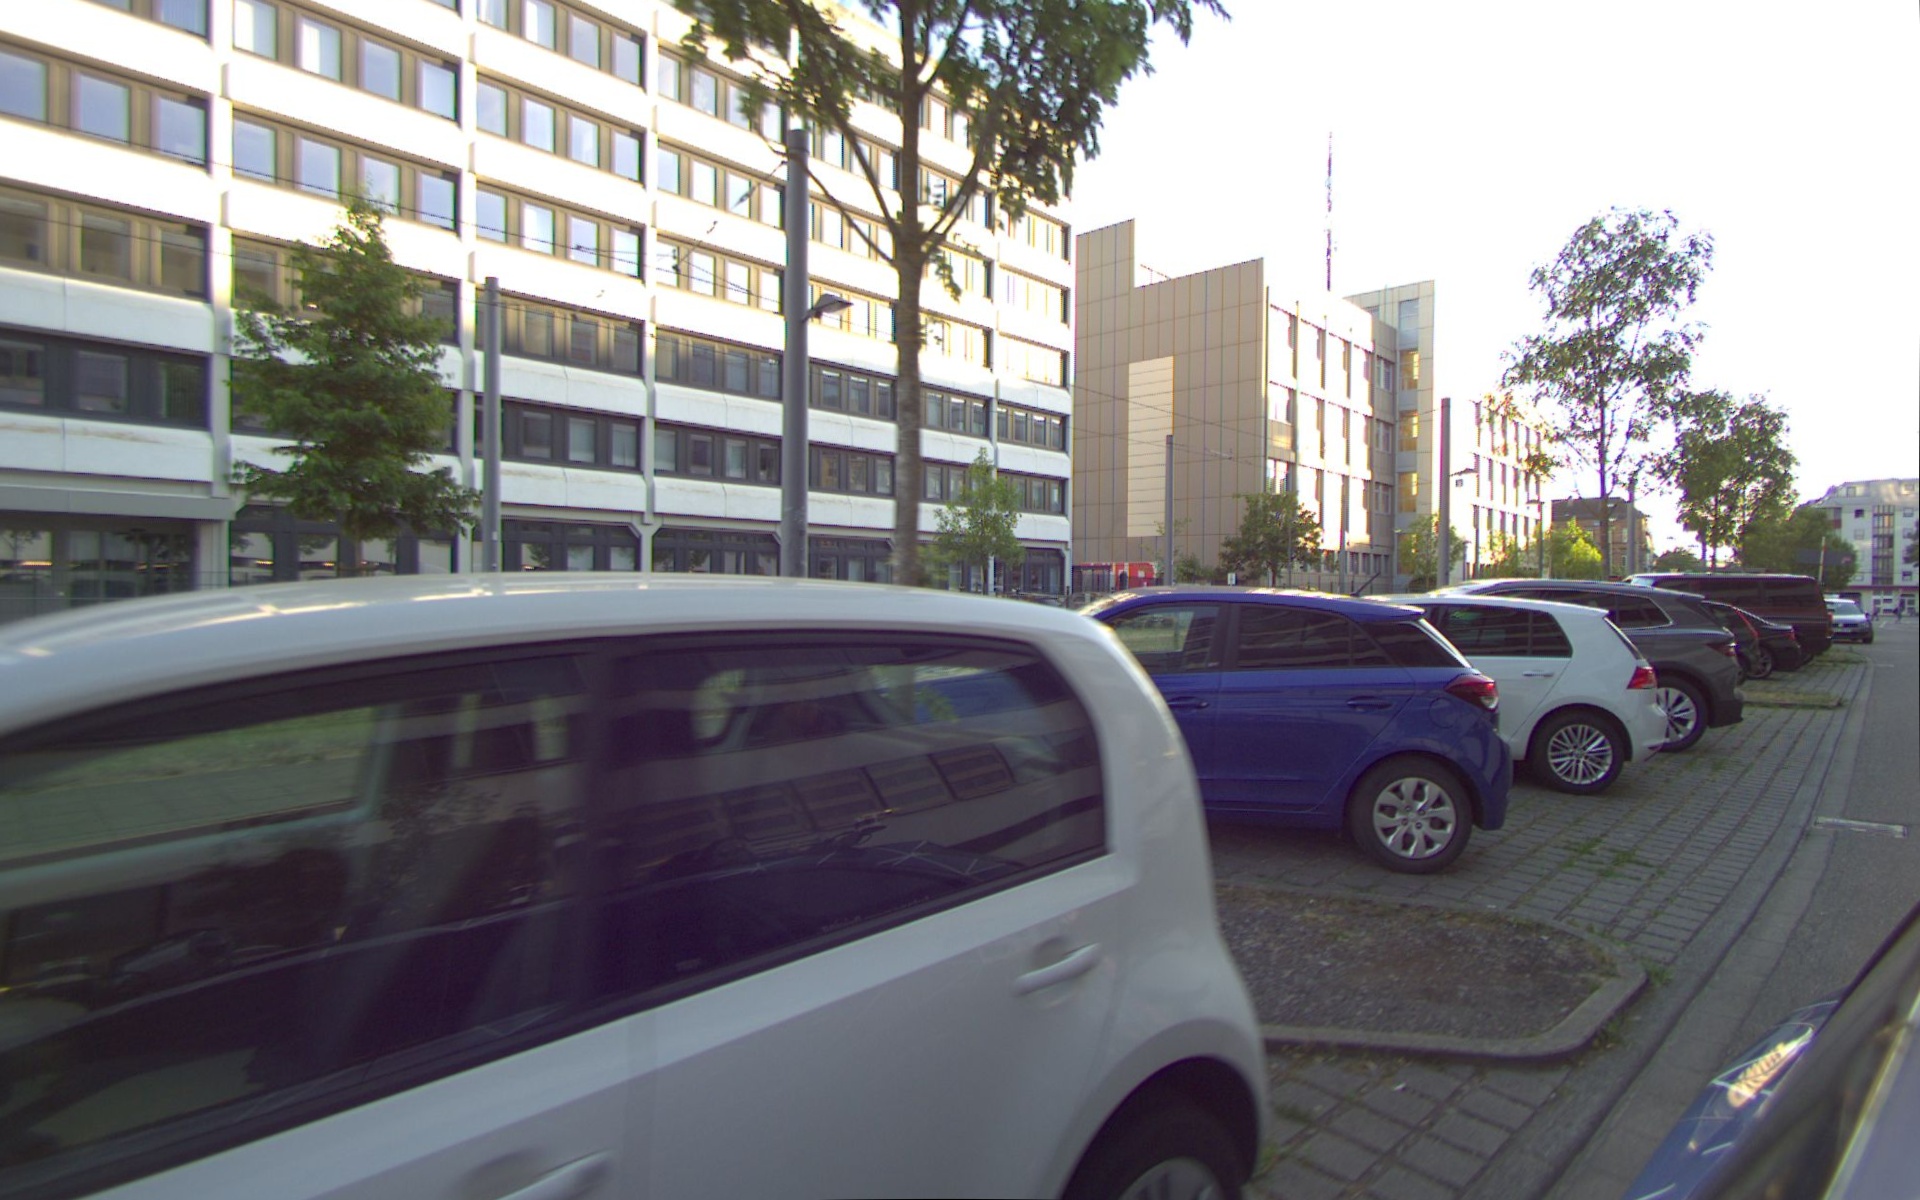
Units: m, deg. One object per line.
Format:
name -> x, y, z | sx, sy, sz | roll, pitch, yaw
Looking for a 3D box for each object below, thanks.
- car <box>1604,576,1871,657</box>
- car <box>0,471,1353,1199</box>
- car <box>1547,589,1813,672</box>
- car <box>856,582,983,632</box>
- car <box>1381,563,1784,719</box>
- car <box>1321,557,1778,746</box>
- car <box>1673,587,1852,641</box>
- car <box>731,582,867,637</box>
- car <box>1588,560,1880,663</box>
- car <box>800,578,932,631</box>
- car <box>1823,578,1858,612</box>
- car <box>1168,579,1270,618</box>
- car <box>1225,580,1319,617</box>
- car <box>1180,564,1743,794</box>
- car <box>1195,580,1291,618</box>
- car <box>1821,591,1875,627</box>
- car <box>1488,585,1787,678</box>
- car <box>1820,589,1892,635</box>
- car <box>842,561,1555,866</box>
car -> 17.975, 0.394, 23.623 | 4.529, 1.771, 1.865 | -1, -1, 11
car -> -1.142, 0.624, 1.545 | 3.488, 1.486, 1.727 | 0, 1, -39
car -> 13.476, 0.572, 19.152 | 3.716, 1.484, 1.635 | -1, -1, 9
car -> -1.303, 0.251, 31.260 | 3.984, 1.416, 1.567 | -2, -2, 43
car -> 7.679, 0.413, 12.977 | 3.932, 1.660, 1.963 | 2, 2, 17
car -> 5.903, 0.500, 10.623 | 3.719, 1.748, 1.757 | -1, -1, 12
car -> 25.315, 0.410, 32.064 | 3.934, 1.539, 1.924 | 1, 2, 9
car -> -4.485, 0.294, 27.842 | 3.984, 1.416, 1.567 | -2, -2, 43
car -> 16.339, 0.264, 21.615 | 4.529, 2.061, 1.865 | -1, -1, 11
car -> -2.800, 0.173, 29.436 | 3.984, 1.416, 1.567 | -2, -2, 43
car -> 74.854, -0.419, 86.025 | 2.050, 2.689, 5.352 | 5, 3, 41
car -> 11.441, -0.089, 44.901 | 3.987, 1.532, 1.796 | 4, 2, 43
car -> 14.830, -0.109, 48.230 | 3.990, 1.505, 1.648 | 4, 3, 45
car -> 3.903, 0.527, 8.655 | 3.875, 1.528, 1.948 | 2, 1, 14
car -> 13.085, -0.063, 46.935 | 3.990, 1.505, 1.648 | 4, 3, 45
car -> 38.883, 0.368, 44.365 | 1.674, 1.470, 4.126 | 0, 1, 40
car -> 11.199, 0.519, 16.988 | 3.716, 1.461, 1.759 | -1, -1, 9
car -> 30.982, 0.387, 35.093 | 1.729, 1.484, 3.942 | -2, 0, 40
car -> 1.283, 0.594, 6.232 | 3.693, 1.528, 1.683 | -1, -1, 10
